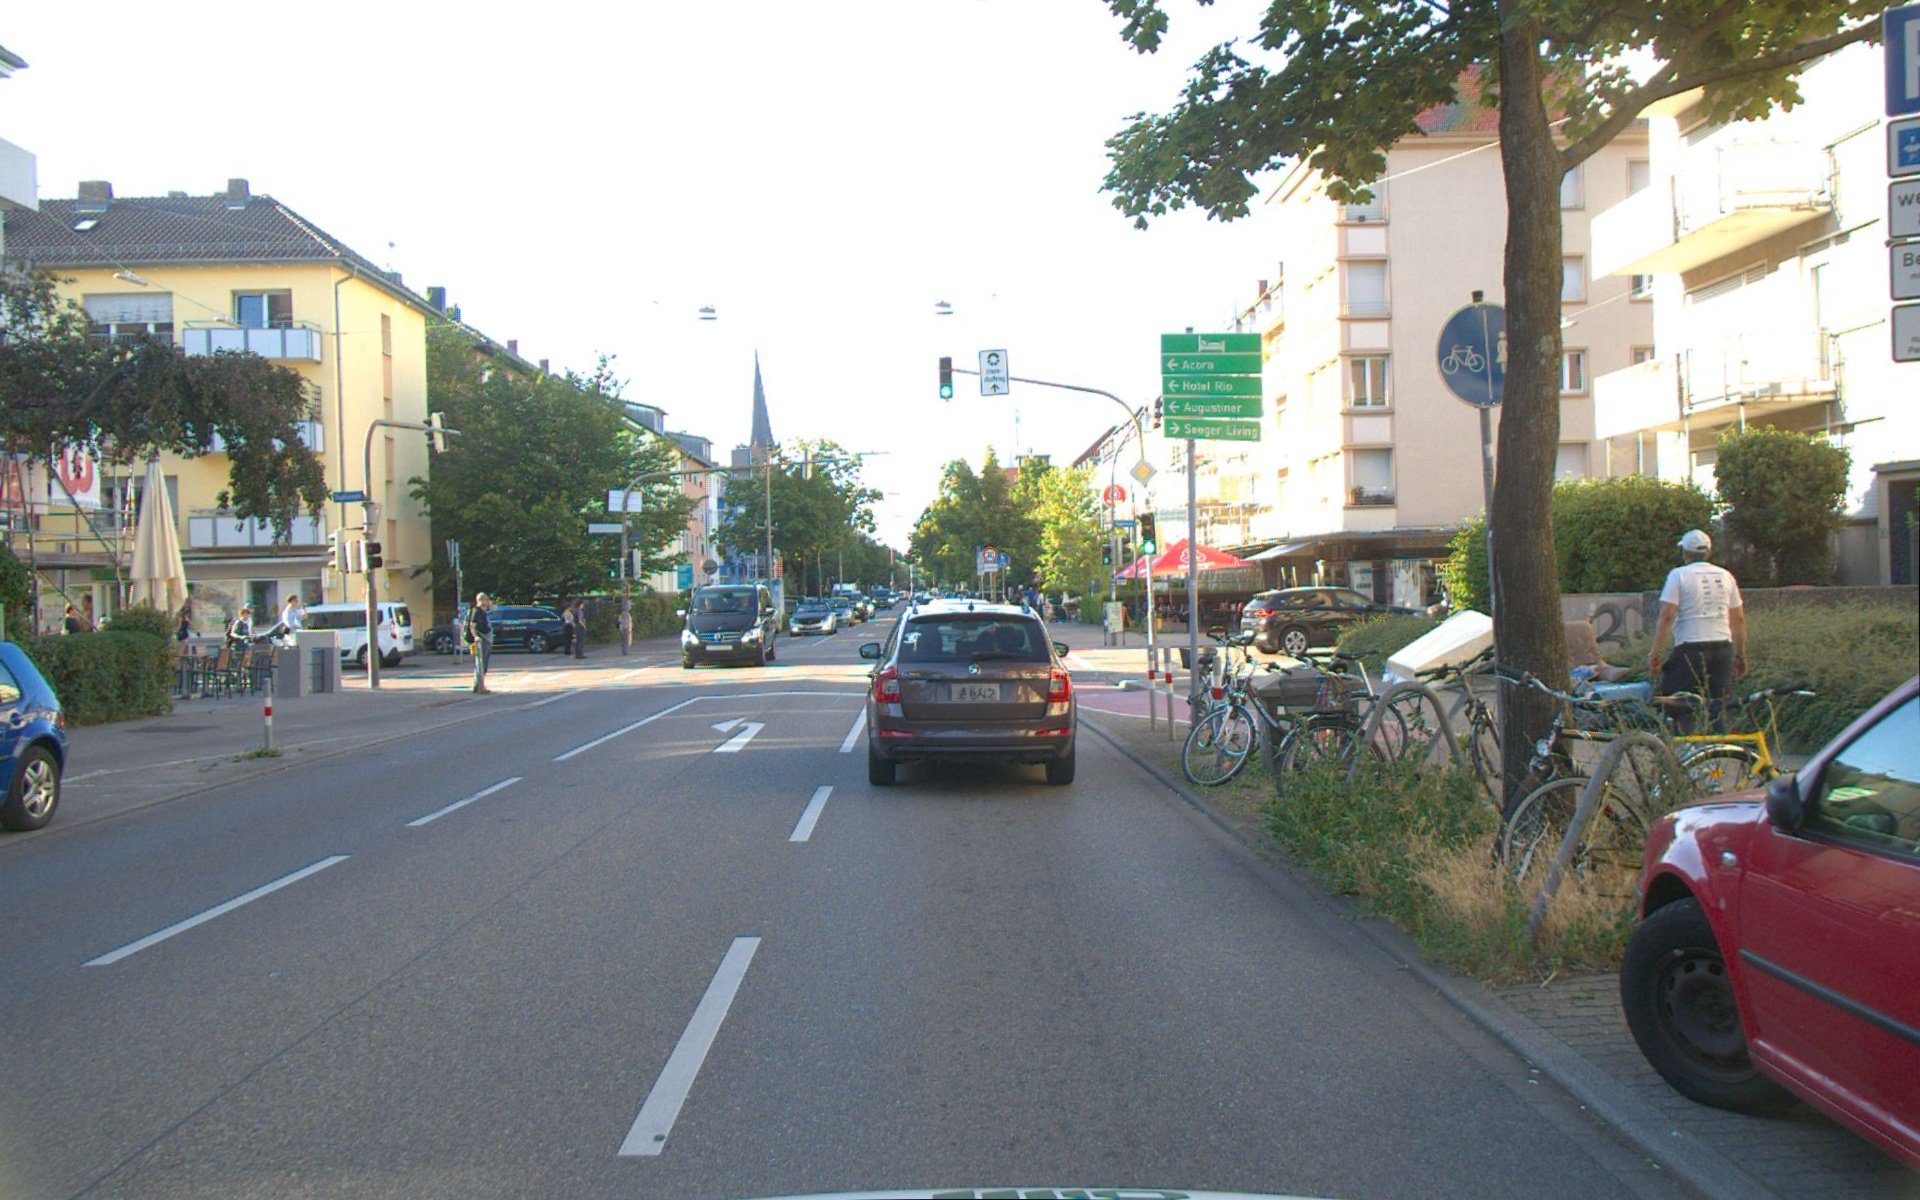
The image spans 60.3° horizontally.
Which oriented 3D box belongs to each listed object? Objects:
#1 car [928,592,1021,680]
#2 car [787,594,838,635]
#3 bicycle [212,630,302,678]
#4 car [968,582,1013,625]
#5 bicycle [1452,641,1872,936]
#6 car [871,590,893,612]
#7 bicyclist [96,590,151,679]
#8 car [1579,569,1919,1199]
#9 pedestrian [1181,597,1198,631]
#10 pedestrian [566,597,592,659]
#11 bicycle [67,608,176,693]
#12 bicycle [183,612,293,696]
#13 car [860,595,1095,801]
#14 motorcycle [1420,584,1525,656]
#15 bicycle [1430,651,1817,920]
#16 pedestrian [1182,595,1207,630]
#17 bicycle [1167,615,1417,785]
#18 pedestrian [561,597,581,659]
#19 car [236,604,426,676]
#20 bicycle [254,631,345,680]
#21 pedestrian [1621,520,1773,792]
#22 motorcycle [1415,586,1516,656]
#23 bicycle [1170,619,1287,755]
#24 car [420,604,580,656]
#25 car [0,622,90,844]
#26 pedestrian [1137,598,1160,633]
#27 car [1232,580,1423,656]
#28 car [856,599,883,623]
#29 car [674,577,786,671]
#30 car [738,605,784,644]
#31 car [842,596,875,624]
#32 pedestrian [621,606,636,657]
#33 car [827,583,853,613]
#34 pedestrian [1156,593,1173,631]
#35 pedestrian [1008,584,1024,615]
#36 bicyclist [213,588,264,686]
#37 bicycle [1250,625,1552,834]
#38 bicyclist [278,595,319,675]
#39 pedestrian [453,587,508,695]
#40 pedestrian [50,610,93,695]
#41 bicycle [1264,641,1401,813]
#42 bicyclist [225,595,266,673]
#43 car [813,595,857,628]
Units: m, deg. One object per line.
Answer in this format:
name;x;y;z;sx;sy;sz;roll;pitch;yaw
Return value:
car;0.247;0.664;32.314;1.701;1.598;3.999;0;0;-1
car;-6.103;0.594;68.907;1.793;1.607;3.999;-2;0;-1
bicycle;-16.959;1.293;39.925;1.865;1.090;0.717;-2;0;-11
car;1.366;0.147;73.119;1.952;1.803;4.001;0;0;1
bicycle;2.859;0.756;6.793;1.538;1.123;0.391;-2;0;-1
car;-7.637;0.080;162.226;1.953;2.049;3.999;-2;0;-1
bicyclist;-17.788;0.726;35.180;0.770;1.830;0.709;-2;0;-3
car;2.892;0.660;3.475;1.668;1.475;4.014;-3;0;1
pedestrian;8.200;0.503;59.156;0.495;1.197;0.428;-2;0;-2
pedestrian;-11.398;0.831;49.485;0.603;1.828;0.504;-2;0;-1
bicycle;-17.819;1.058;35.182;1.881;1.736;0.756;-2;0;-4
bicycle;-15.516;1.150;35.557;1.982;1.736;0.756;-2;0;-4
car;0.068;0.726;14.468;1.737;1.515;4.309;0;0;-2
motorcycle;10.366;0.400;33.483;1.874;1.385;0.694;-2;0;3
bicycle;2.990;0.824;7.526;1.538;1.123;0.501;-2;0;-1
pedestrian;8.237;0.439;58.179;0.714;1.219;0.855;-1;0;-1
bicycle;2.591;0.776;13.059;1.796;1.177;0.683;-4;0;5
pedestrian;-11.726;0.838;49.831;0.440;1.828;0.504;-2;0;-1
car;-17.564;1.105;46.325;4.541;1.843;1.861;-2;0;-2
bicycle;-15.605;1.303;39.102;1.865;1.090;0.717;-2;0;-11
pedestrian;5.048;0.372;11.371;0.648;1.779;0.773;-3;0;5
motorcycle;10.495;0.431;34.378;1.874;1.385;0.694;-2;0;3
bicycle;2.489;0.775;15.539;0.492;1.167;1.956;-4;0;-7
car;-14.534;0.935;52.404;4.540;1.562;1.861;-1;0;-2
car;-7.567;0.951;10.867;1.615;1.544;4.073;0;0;-1
pedestrian;6.614;0.543;58.040;0.664;1.219;0.855;-1;0;-1
car;8.326;0.399;37.656;3.906;1.579;1.805;-2;0;-1
car;-6.336;0.780;116.019;1.669;1.577;4.001;-2;0;-1
car;-5.312;0.520;38.854;1.954;1.941;4.962;-4;0;-2
car;-8.875;1.080;73.944;1.528;1.646;3.999;-2;0;0
car;-6.113;0.590;99.943;1.751;1.598;3.999;0;0;-1
pedestrian;-10.179;0.952;50.718;0.294;1.530;0.640;-2;0;-1
car;-10.508;-0.160;145.158;1.953;2.521;3.999;-2;0;-1
pedestrian;7.300;0.425;59.019;0.489;1.325;0.506;-2;0;-4
pedestrian;3.225;-0.032;95.044;0.661;1.734;0.800;-2;0;25
bicyclist;-15.521;0.789;35.605;0.711;2.049;0.843;-2;0;-4
bicycle;2.662;0.779;10.101;1.651;1.126;0.517;-4;0;5
bicyclist;-15.620;0.825;39.088;0.725;1.855;0.652;-2;0;-10
pedestrian;-9.212;0.770;31.785;0.764;2.022;0.821;-2;0;-1
pedestrian;-18.120;1.060;33.737;0.567;1.704;0.642;-2;0;-11
bicycle;2.642;0.853;11.625;0.606;1.069;1.573;-1;0;25
bicyclist;-17.226;0.814;39.885;0.725;1.855;0.652;-2;0;-10
car;-6.529;0.587;86.630;1.953;1.639;3.999;-2;0;-1
